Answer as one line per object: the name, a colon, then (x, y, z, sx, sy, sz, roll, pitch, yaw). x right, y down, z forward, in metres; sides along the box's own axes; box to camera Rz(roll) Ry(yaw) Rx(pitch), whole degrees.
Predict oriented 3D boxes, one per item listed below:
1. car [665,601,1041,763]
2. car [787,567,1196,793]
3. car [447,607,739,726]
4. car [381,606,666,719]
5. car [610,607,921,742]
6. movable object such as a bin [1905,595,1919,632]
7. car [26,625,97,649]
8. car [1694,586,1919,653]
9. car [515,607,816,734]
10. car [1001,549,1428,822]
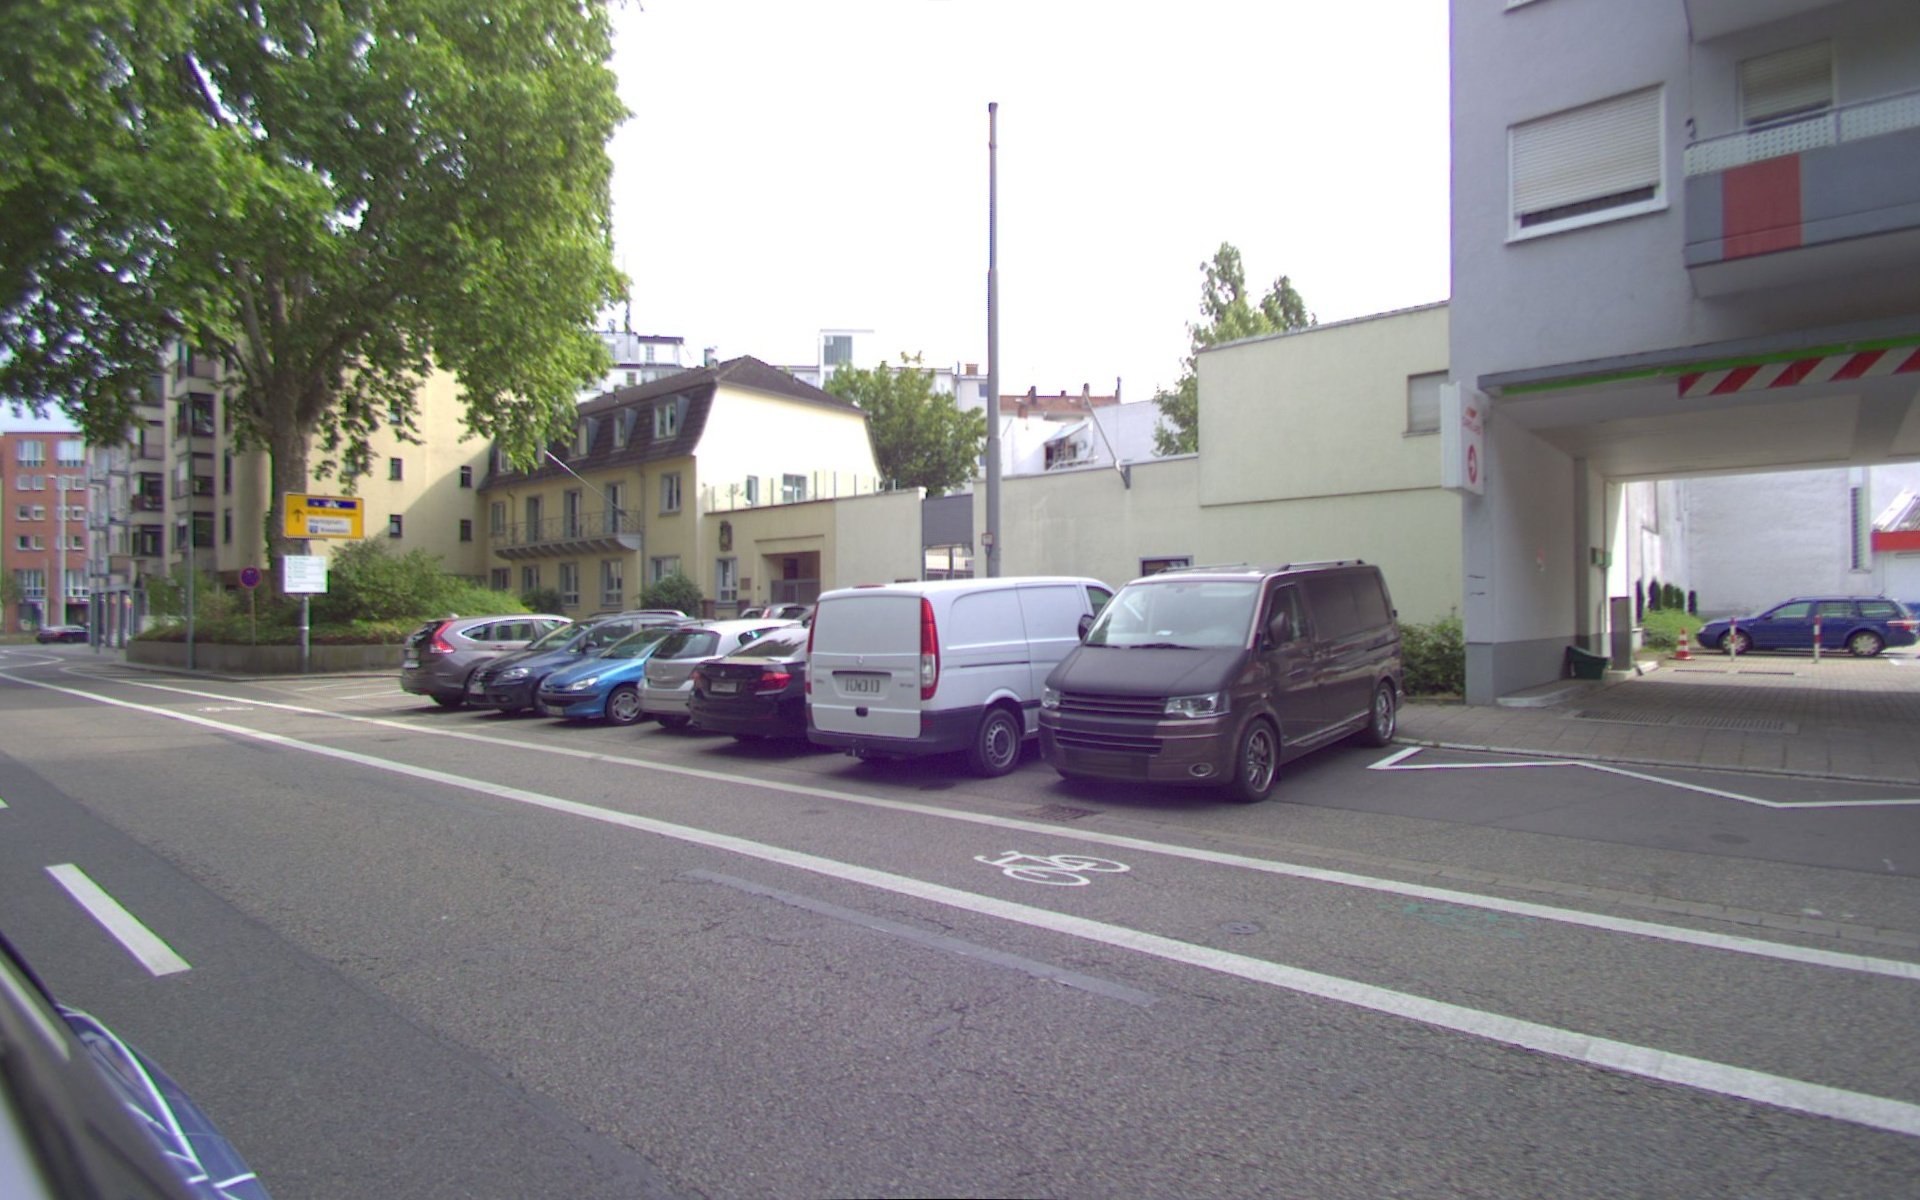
car: (-1.142, 0.864, 12.769, 1.873, 1.480, 4.656, -2, 1, 41)
car: (0.565, 0.647, 11.021, 1.949, 1.873, 4.568, -2, 1, 41)
car: (-6.077, 1.011, 17.178, 1.732, 1.560, 4.317, -2, 1, 41)
car: (-7.879, 1.040, 18.630, 1.753, 1.618, 4.472, -2, 1, 41)
car: (-2.632, 0.932, 14.464, 1.718, 1.462, 4.149, -2, 1, 41)
movable object such as a bin: (37.663, 0.520, 39.326, 1.229, 1.454, 1.167, 0, -1, -39)
car: (-66.802, 2.723, 75.333, 1.940, 1.683, 4.562, -1, 0, -12)
car: (21.019, 0.480, 25.160, 4.364, 1.533, 1.820, -2, -1, 41)
car: (-4.445, 0.983, 15.815, 1.718, 1.522, 4.221, -2, 1, 41)
car: (2.680, 0.548, 9.708, 1.993, 1.948, 4.717, -2, 1, 41)
